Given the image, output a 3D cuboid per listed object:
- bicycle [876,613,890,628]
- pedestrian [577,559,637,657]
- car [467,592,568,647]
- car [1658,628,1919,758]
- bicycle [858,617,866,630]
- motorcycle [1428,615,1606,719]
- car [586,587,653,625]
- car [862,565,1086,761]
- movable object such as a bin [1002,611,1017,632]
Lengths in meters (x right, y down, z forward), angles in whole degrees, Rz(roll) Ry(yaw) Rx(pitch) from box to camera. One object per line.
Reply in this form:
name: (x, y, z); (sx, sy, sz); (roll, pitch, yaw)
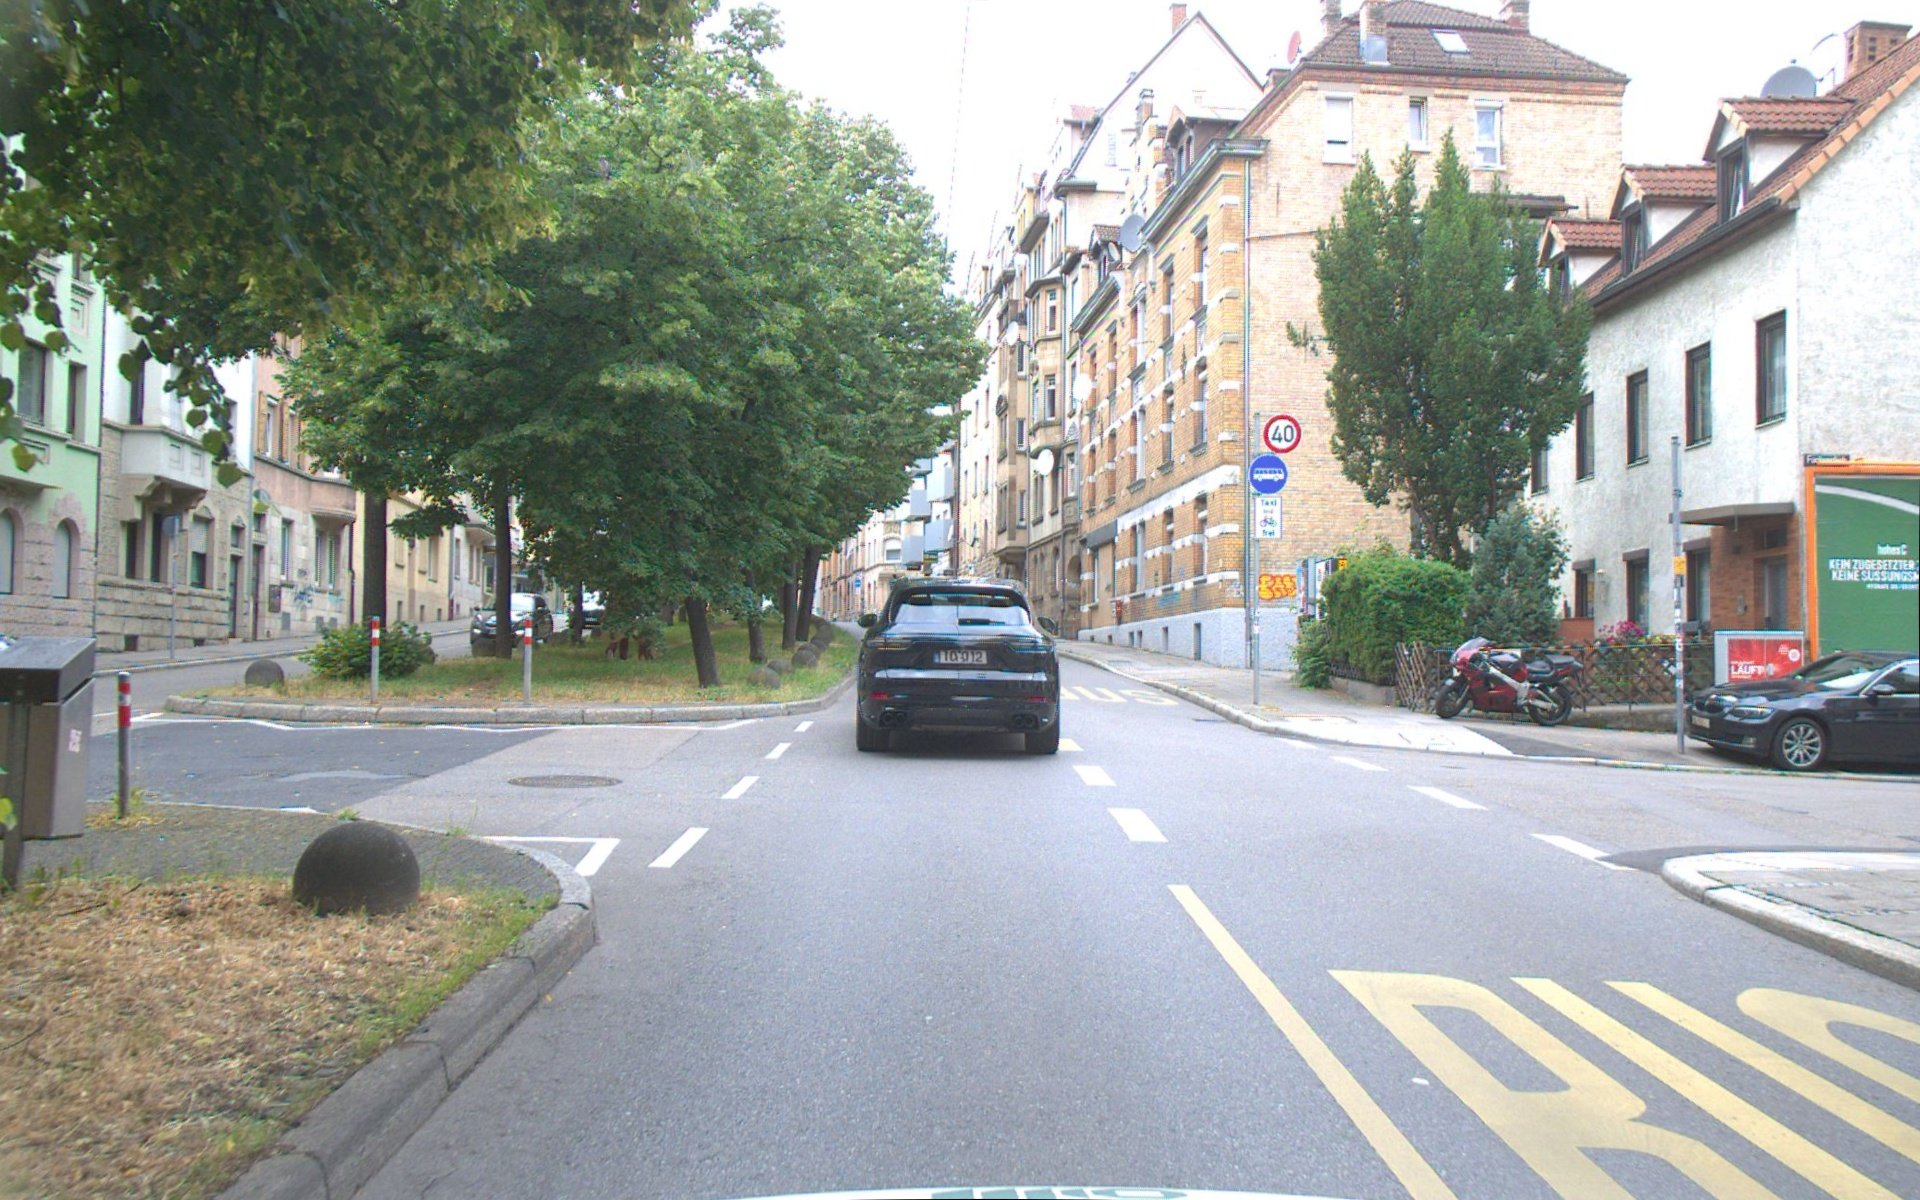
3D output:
bicycle: (-6.179, 1.633, 132.692); (0.862, 1.149, 2.973); (2, -2, -9)
pedestrian: (-6.545, 0.163, 30.724); (0.816, 1.742, 1.122); (-3, -2, -1)
car: (-12.647, 0.525, 47.534); (1.674, 1.406, 4.668); (-1, 1, -1)
car: (10.794, 1.108, 19.851); (4.043, 1.307, 1.782); (1, 3, -4)
bicycle: (-8.523, 2.013, 143.563); (0.438, 1.055, 2.243); (0, -2, -10)
motorcycle: (7.508, 0.897, 22.370); (2.015, 1.290, 1.009); (2, 0, -6)
car: (-13.624, 0.204, 66.451); (1.722, 1.406, 4.668); (-1, 1, -1)
car: (0.024, 0.564, 16.821); (1.954, 1.694, 3.997); (2, 0, -3)
movable object such as a bin: (2.192, 0.951, 73.349); (0.583, 0.920, 0.562); (2, -1, -6)
